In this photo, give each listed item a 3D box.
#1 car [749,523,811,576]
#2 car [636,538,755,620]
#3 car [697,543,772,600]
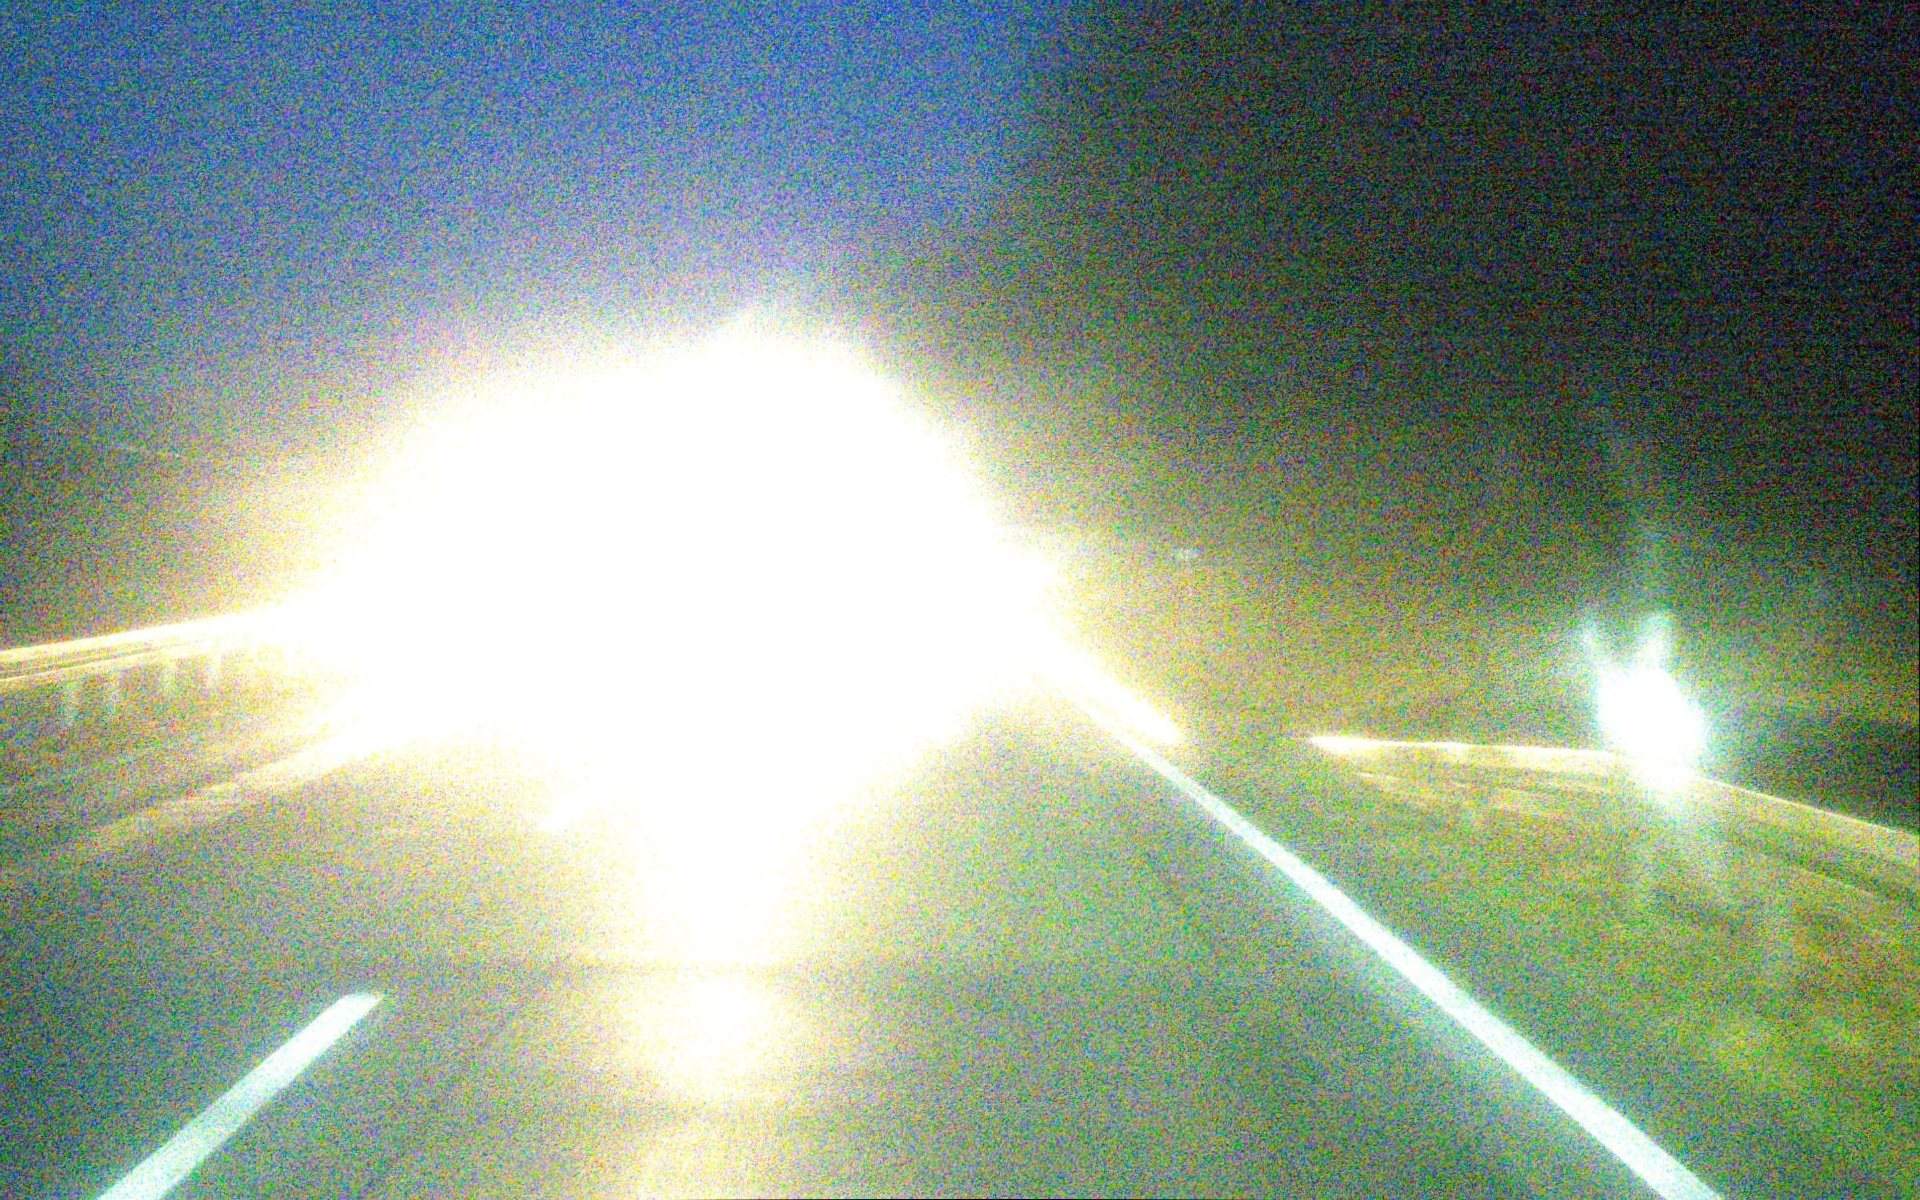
[{"bbox_3d":[-6.222,-1.775,119.342,1.993,1.786,4.247,0,1,-1],"label":"car"},{"bbox_3d":[-4.930,-0.413,64.544,1.993,1.470,3.925,0,1,-1],"label":"car"},{"bbox_3d":[-6.011,-0.782,91.998,1.843,1.475,4.249,0,1,-2],"label":"car"}]
